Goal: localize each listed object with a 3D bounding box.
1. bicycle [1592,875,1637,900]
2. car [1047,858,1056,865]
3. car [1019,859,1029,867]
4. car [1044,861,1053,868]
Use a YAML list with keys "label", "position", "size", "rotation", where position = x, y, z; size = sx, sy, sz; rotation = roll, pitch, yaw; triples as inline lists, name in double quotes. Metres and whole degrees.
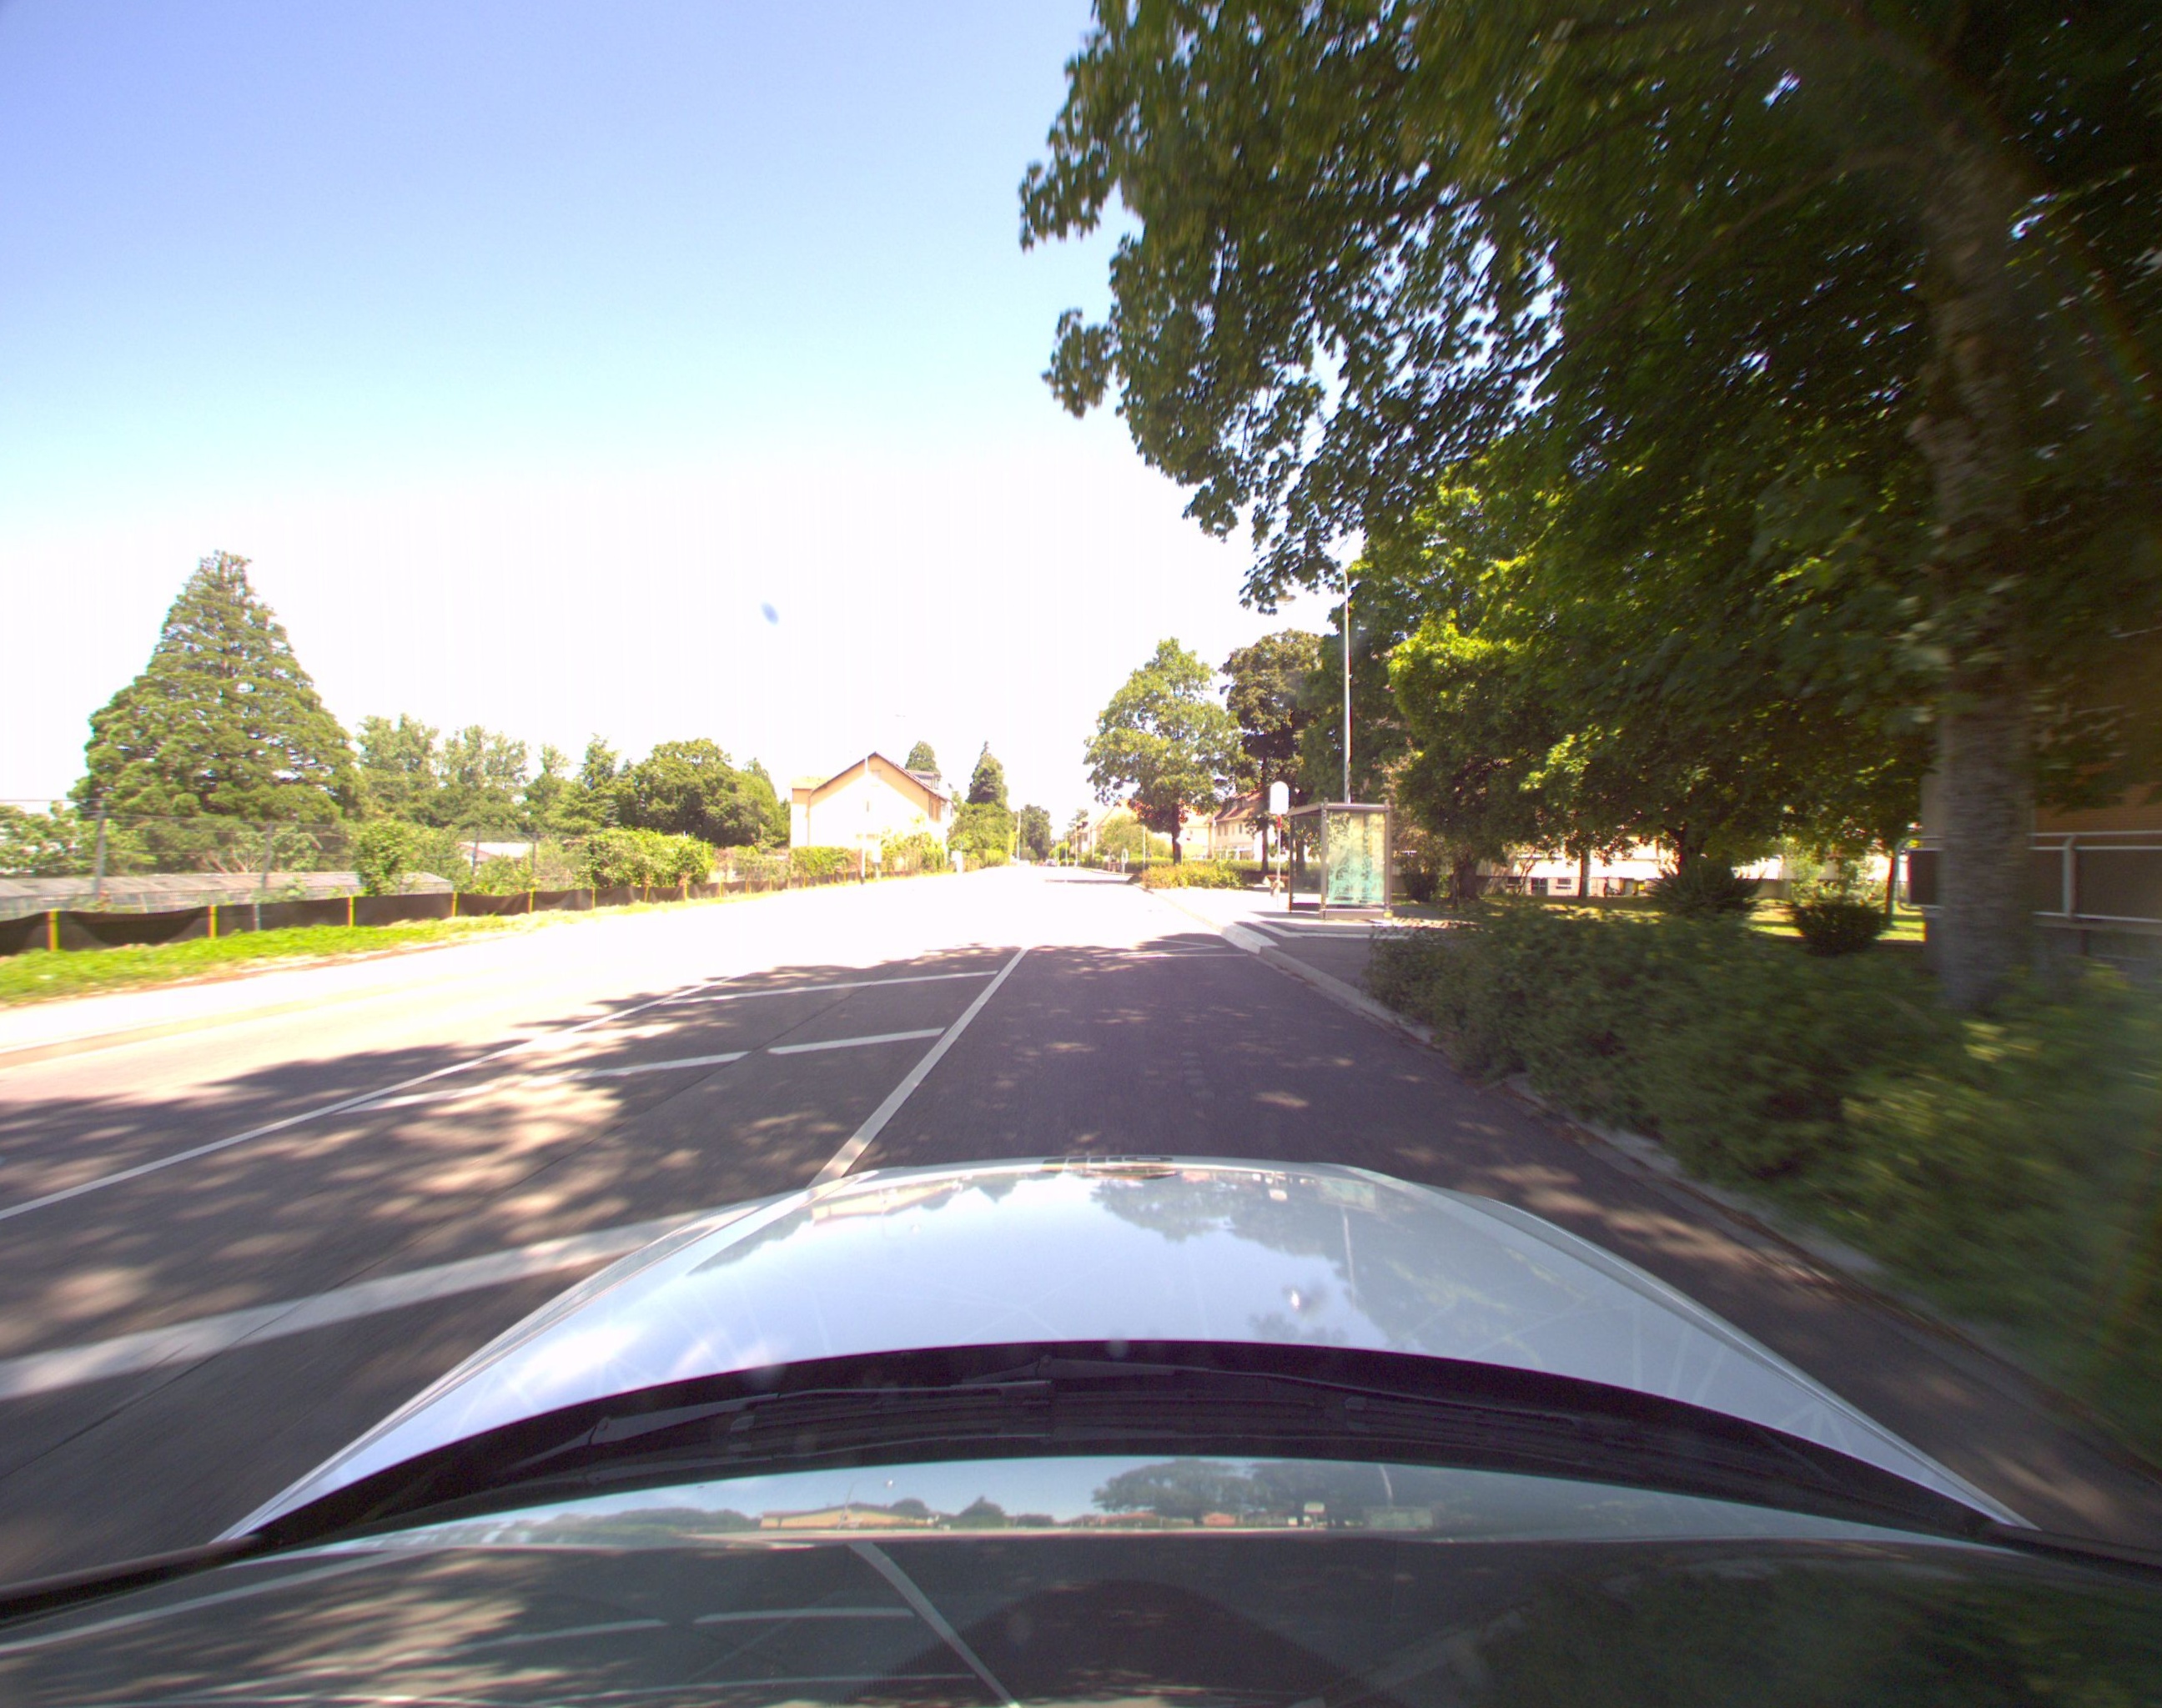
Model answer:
- label: "bicycle"
  position: [25.289, 1.578, 38.629]
  size: [0.720, 1.066, 2.186]
  rotation: [1, 0, 1]
- label: "car"
  position: [-6.091, 1.563, 169.695]
  size: [1.690, 1.419, 4.542]
  rotation: [1, -2, -5]
- label: "car"
  position: [-10.866, 1.686, 155.455]
  size: [1.676, 1.372, 4.202]
  rotation: [-1, 0, -3]
- label: "car"
  position: [-7.140, 2.269, 179.310]
  size: [1.690, 1.419, 4.542]
  rotation: [1, -2, -5]
